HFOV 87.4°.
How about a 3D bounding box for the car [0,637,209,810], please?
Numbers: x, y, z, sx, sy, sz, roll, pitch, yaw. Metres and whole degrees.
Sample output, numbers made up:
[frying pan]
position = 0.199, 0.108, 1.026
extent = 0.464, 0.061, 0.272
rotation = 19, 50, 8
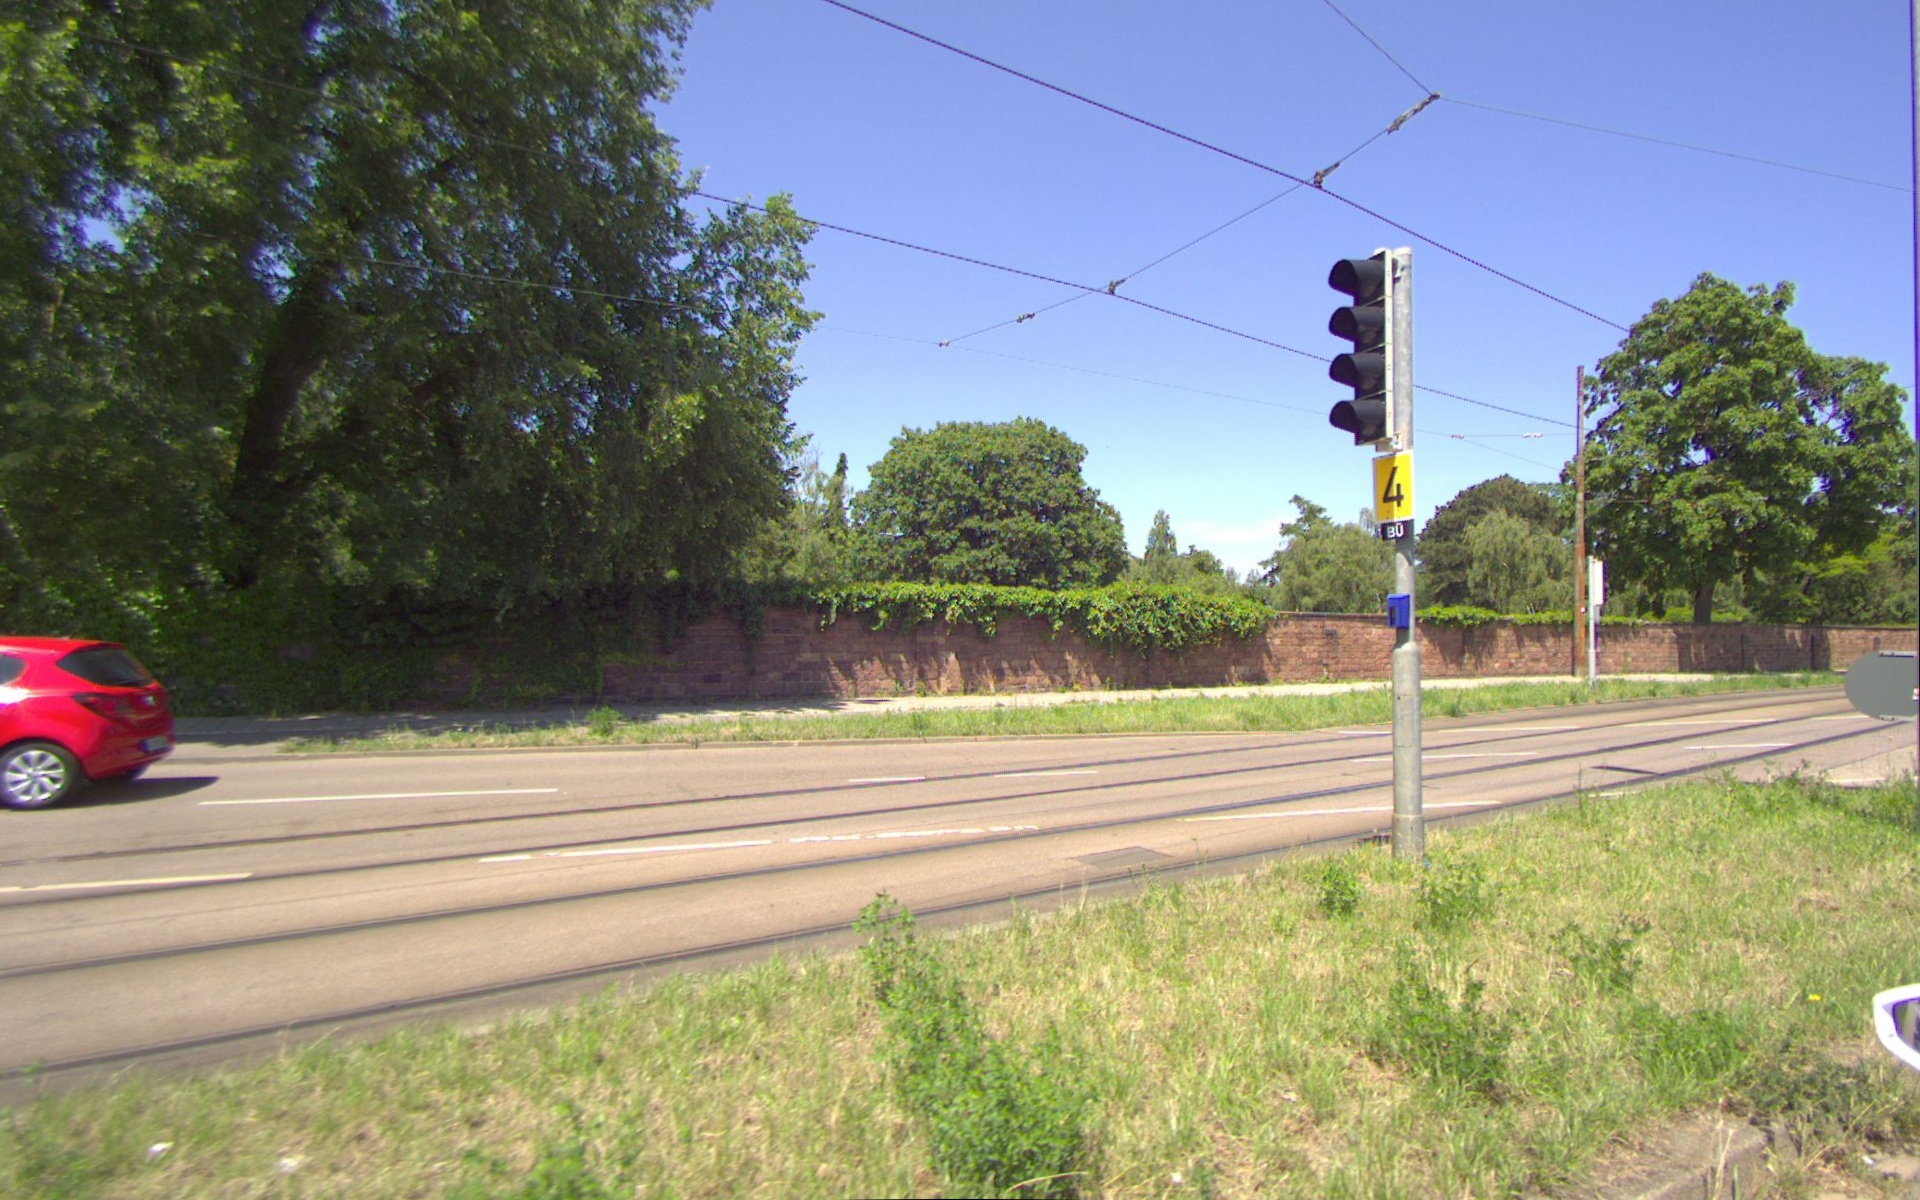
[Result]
[car]
position = -9.522, 1.058, 8.913
extent = 4.216, 1.432, 1.704
rotation = 1, -1, -20
